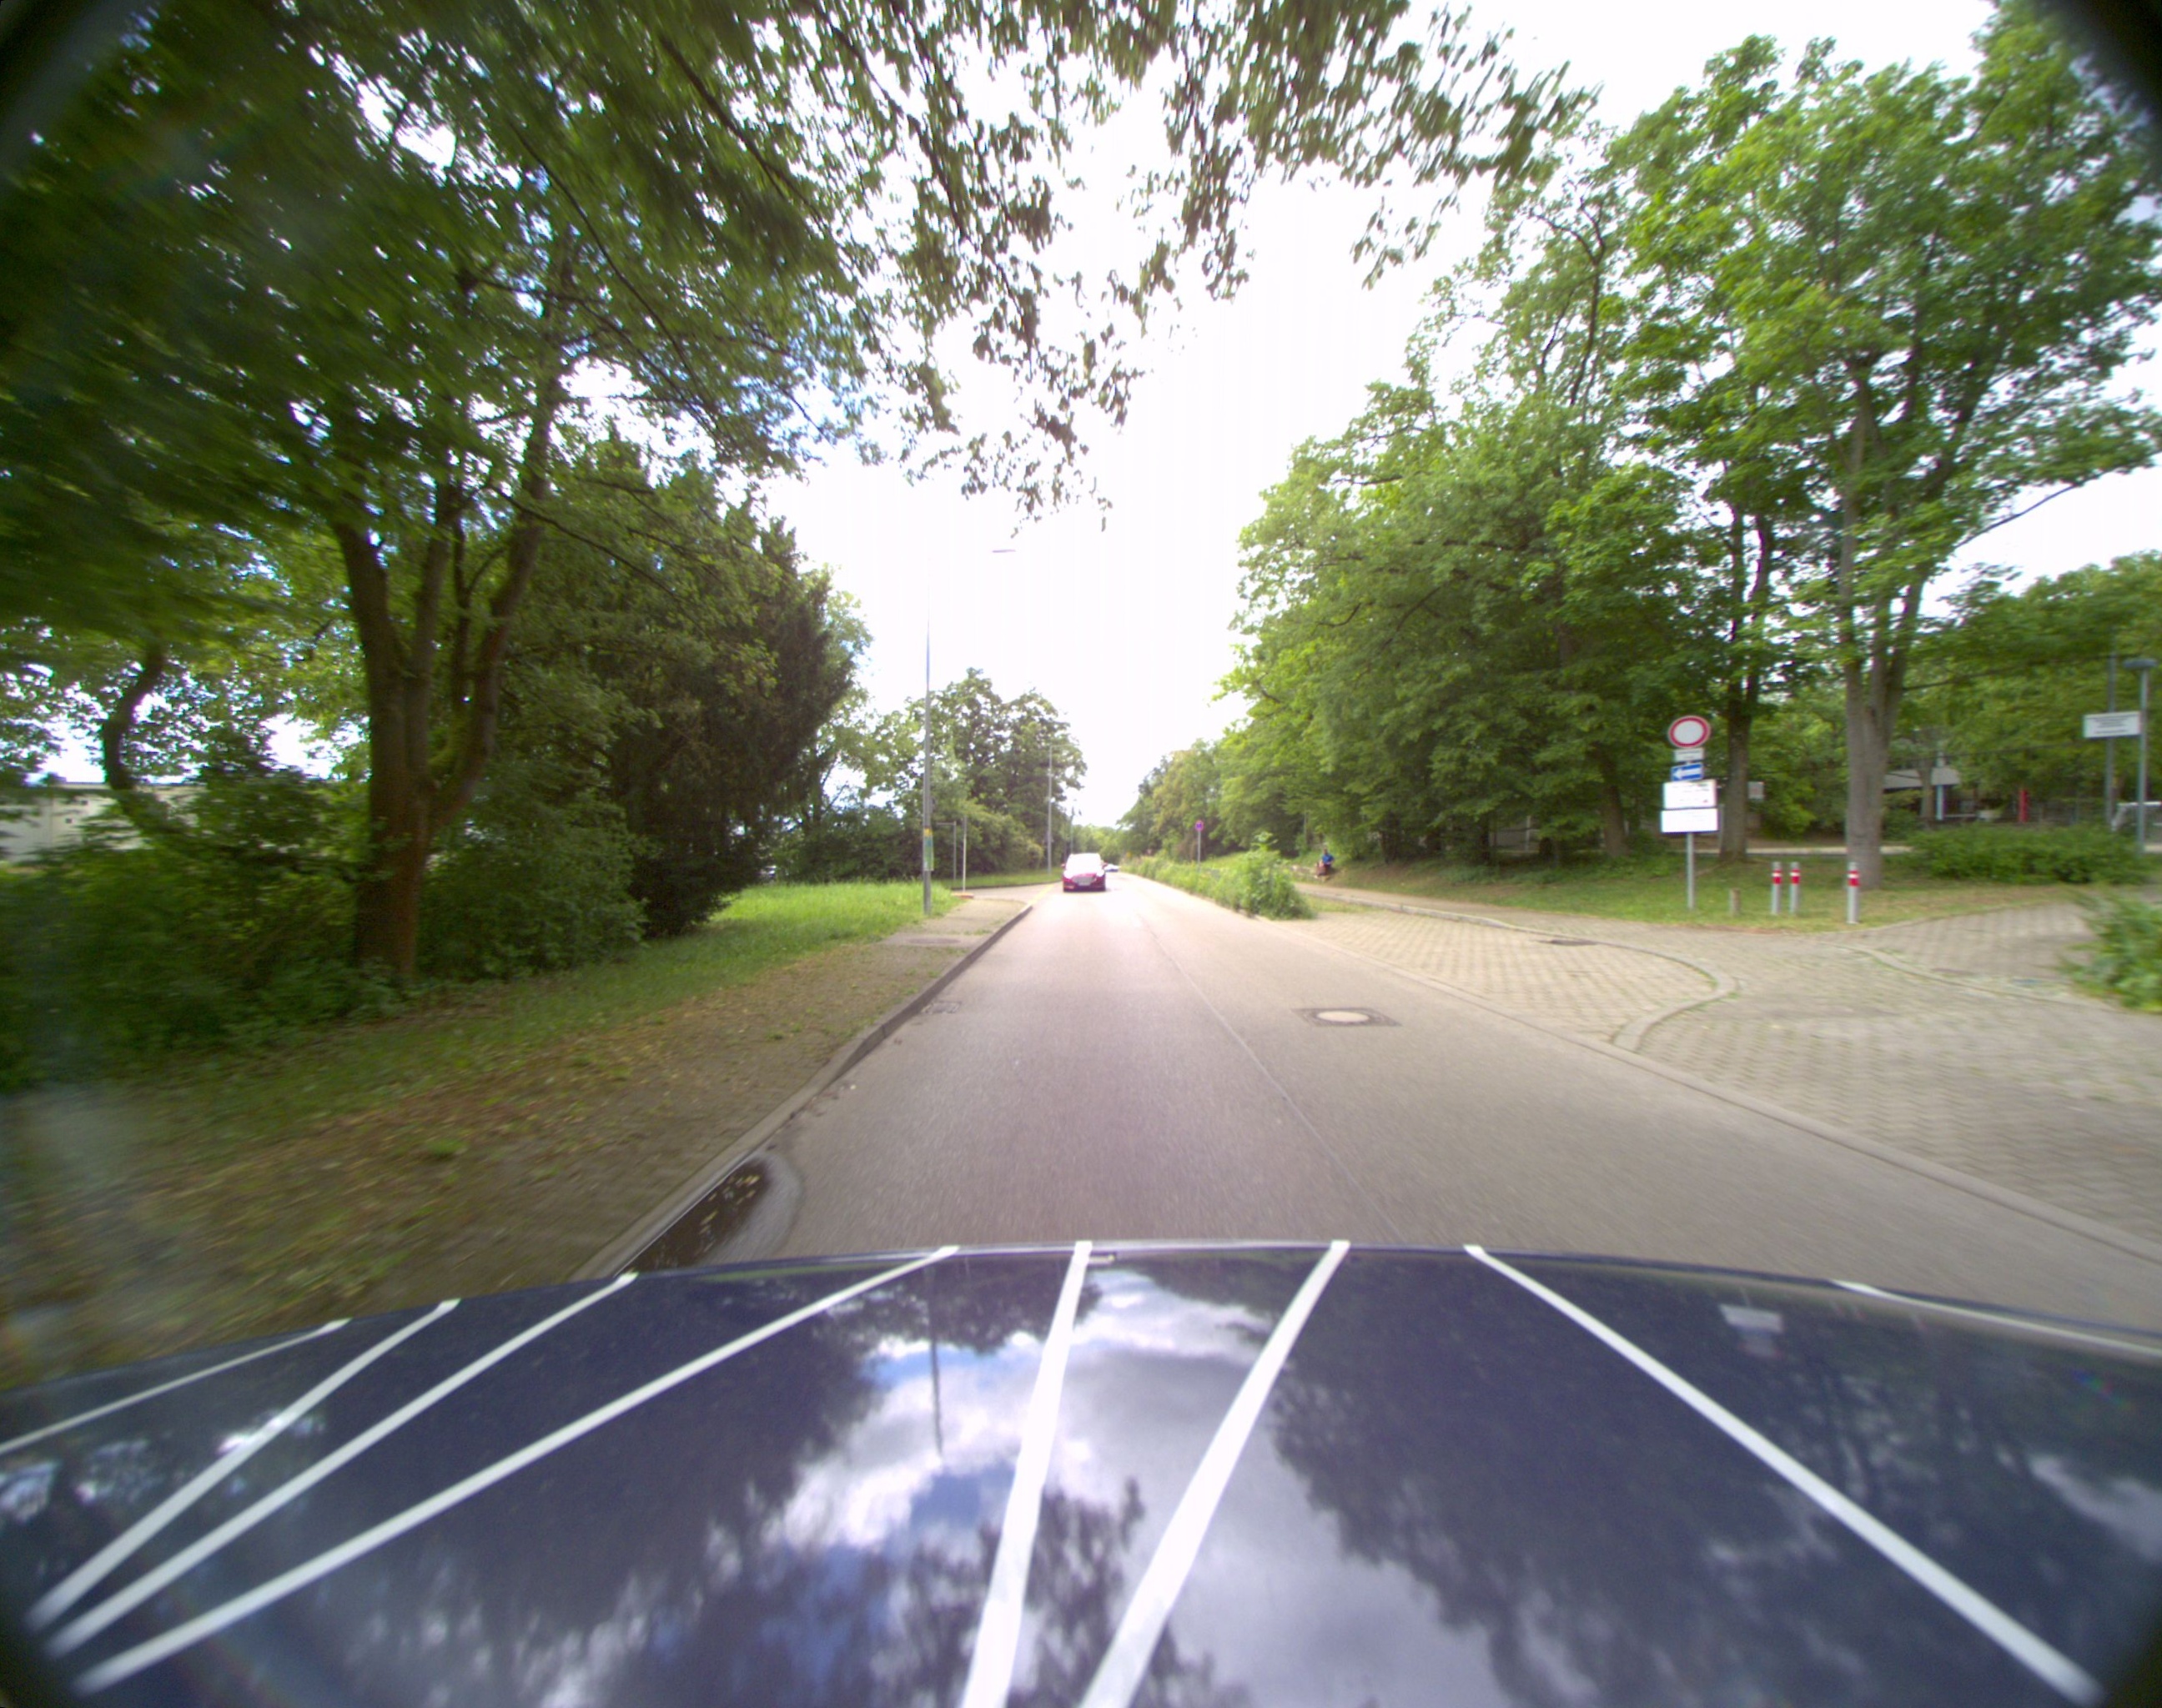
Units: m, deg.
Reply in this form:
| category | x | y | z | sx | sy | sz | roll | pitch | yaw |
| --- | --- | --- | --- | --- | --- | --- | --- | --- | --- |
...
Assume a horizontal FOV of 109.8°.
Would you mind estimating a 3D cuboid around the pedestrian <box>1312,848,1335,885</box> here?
| category | x | y | z | sx | sy | sz | roll | pitch | yaw |
| --- | --- | --- | --- | --- | --- | --- | --- | --- | --- |
| pedestrian | 10.889 | 0.565 | 34.083 | 0.762 | 1.653 | 0.809 | 0 | 0 | -1 |

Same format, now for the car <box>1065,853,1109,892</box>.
| category | x | y | z | sx | sy | sz | roll | pitch | yaw |
| --- | --- | --- | --- | --- | --- | --- | --- | --- | --- |
| car | 0.323 | 0.815 | 34.661 | 1.861 | 1.608 | 4.476 | -2 | 0 | 2 |

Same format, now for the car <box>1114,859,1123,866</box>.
| category | x | y | z | sx | sy | sz | roll | pitch | yaw |
| --- | --- | --- | --- | --- | --- | --- | --- | --- | --- |
| car | 6.944 | 1.600 | 141.431 | 1.620 | 1.324 | 4.001 | 0 | -1 | 1 |
